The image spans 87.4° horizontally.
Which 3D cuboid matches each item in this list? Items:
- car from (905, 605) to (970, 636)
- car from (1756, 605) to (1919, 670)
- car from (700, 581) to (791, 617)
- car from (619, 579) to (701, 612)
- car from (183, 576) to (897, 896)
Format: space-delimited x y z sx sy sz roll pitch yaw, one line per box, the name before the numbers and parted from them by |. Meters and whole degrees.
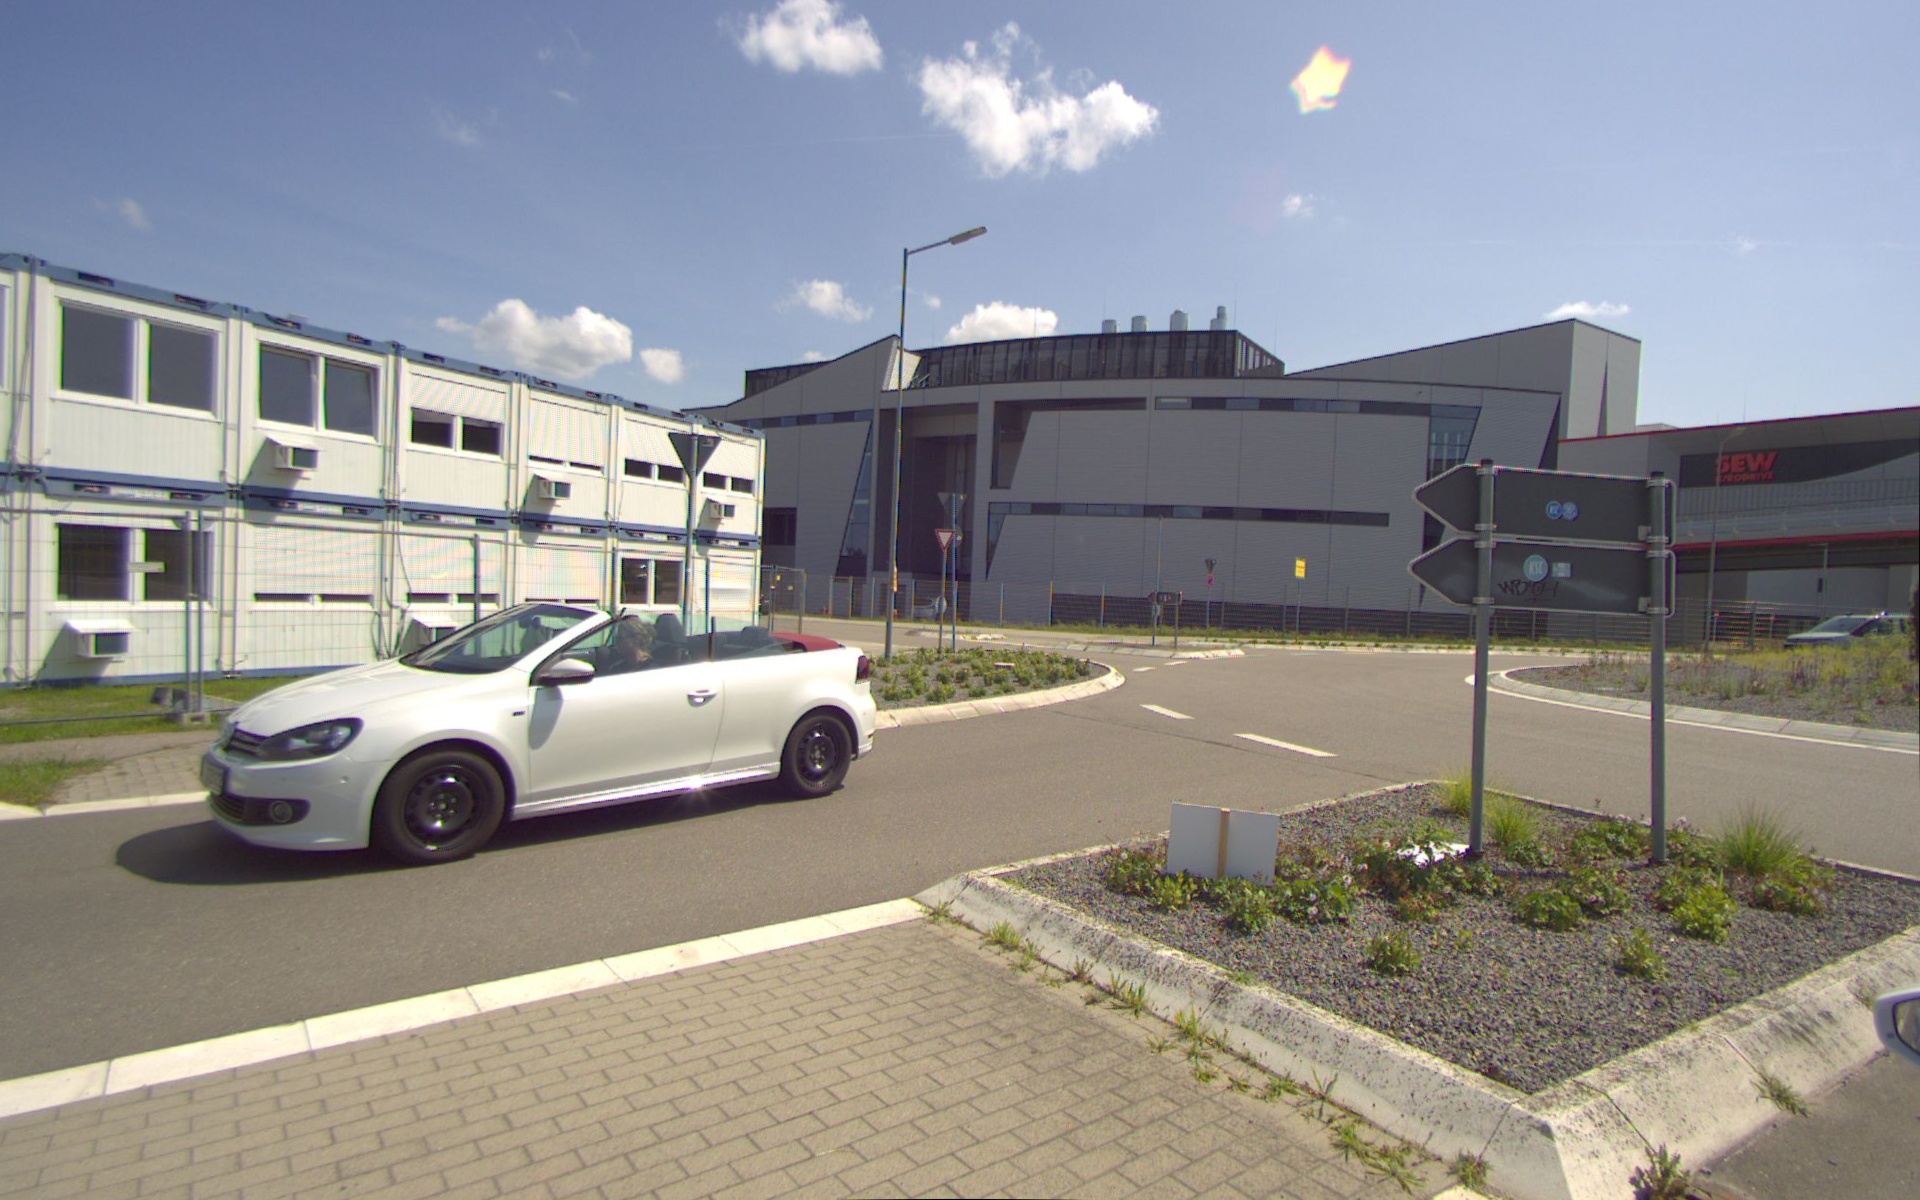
car | -1.372 1.248 62.699 1.965 1.713 4.303 4 2 32
car | 27.790 1.159 31.232 4.472 1.803 1.999 2 1 -2
car | -10.798 -0.050 50.584 4.238 1.570 1.996 4 2 31
car | -16.334 -0.259 54.660 4.239 1.570 1.995 4 2 32
car | -2.476 0.627 6.686 1.750 1.447 4.030 2 1 42
